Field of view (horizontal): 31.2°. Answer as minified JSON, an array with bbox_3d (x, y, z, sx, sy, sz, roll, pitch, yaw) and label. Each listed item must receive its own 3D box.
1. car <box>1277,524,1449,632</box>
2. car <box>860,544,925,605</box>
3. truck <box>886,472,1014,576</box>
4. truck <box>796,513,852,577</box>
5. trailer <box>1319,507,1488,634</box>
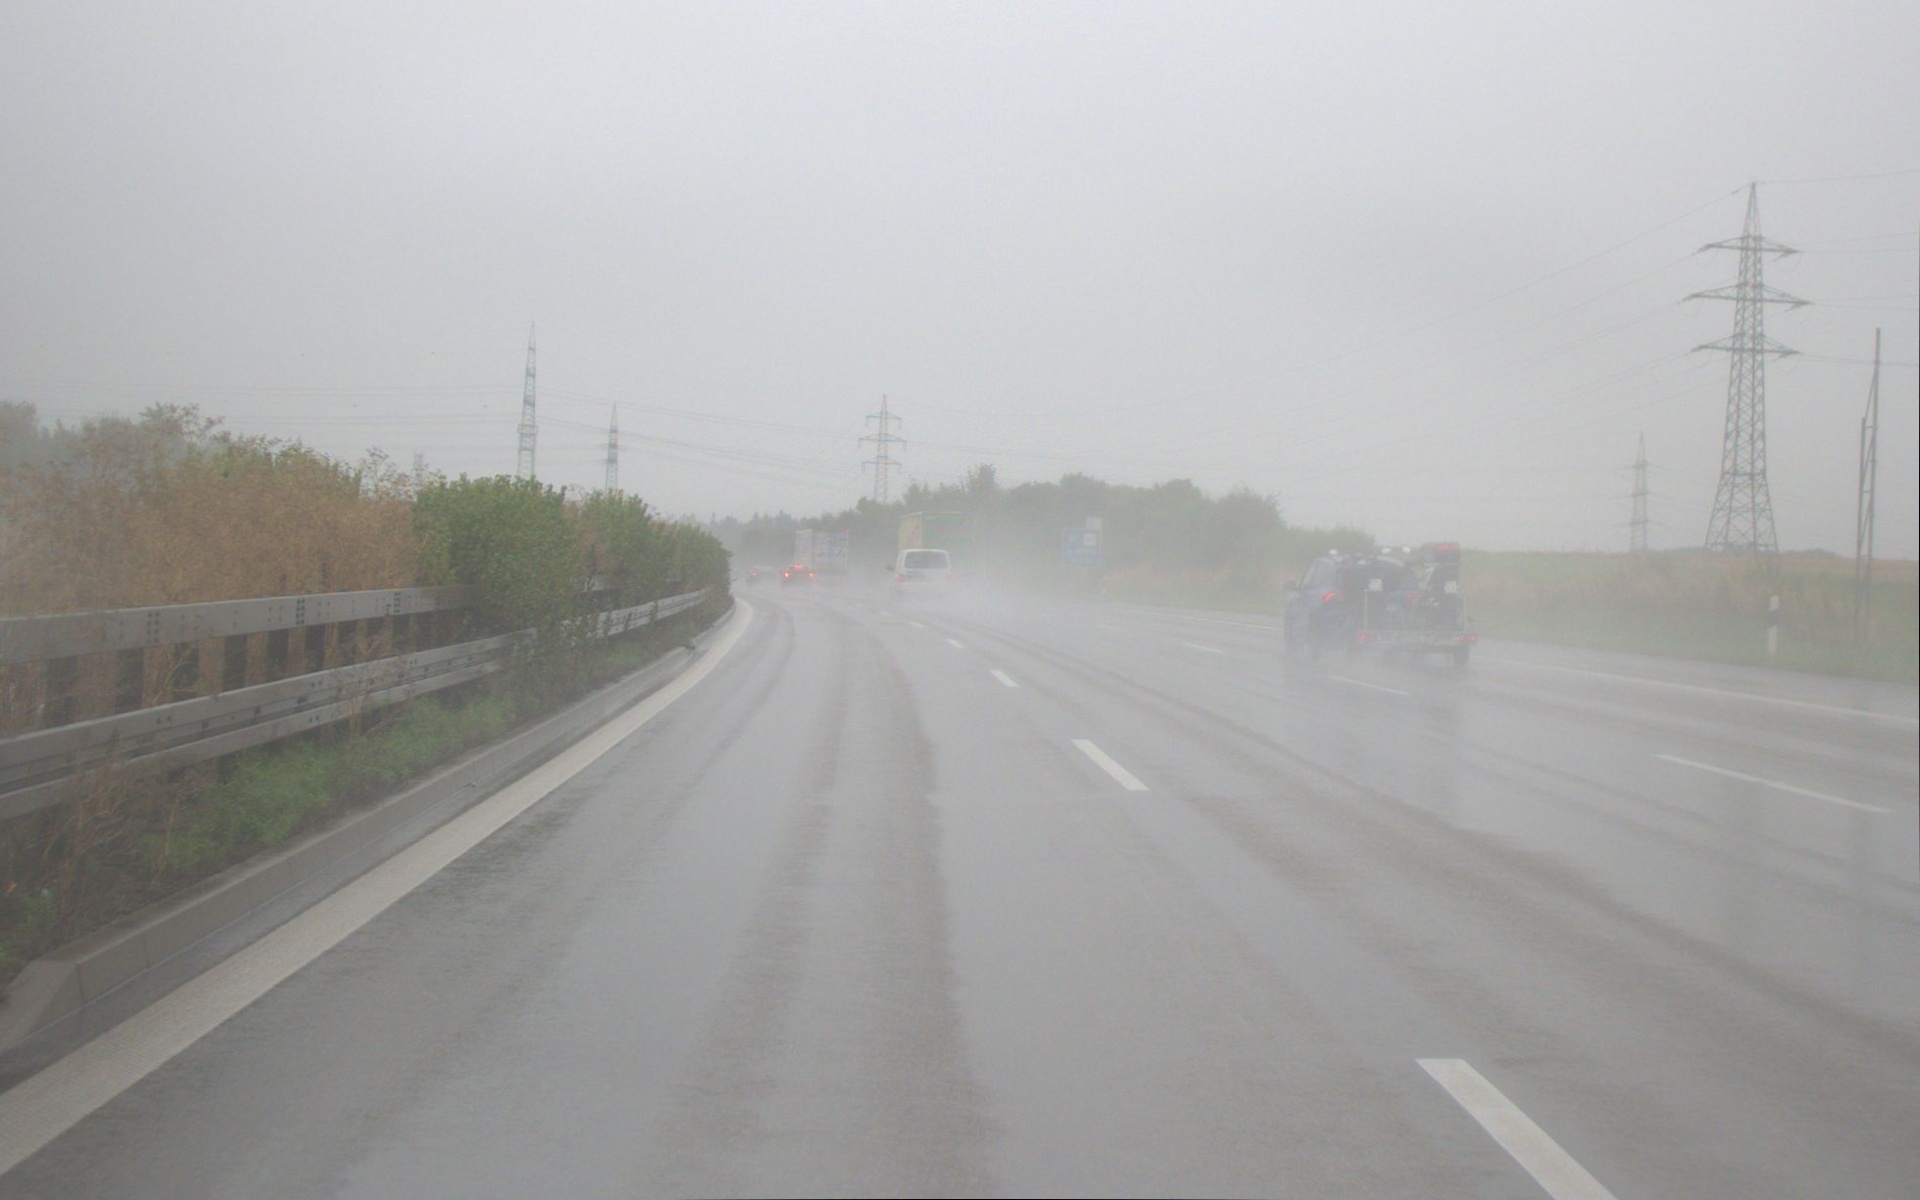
[{"bbox_3d":[6.311,-0.328,54.368,1.993,1.613,4.993,1,0,-1],"label":"car"},{"bbox_3d":[-2.323,-0.887,117.347,1.993,2.007,4.001,1,1,-4],"label":"car"},{"bbox_3d":[-0.611,-3.556,165.579,4.188,4.614,16.108,1,0,-7],"label":"truck"},{"bbox_3d":[-9.504,-3.812,239.616,3.232,4.297,8.838,1,1,-6],"label":"truck"},{"bbox_3d":[6.452,-0.420,50.302,1.979,1.779,3.189,1,0,-1],"label":"trailer"}]
